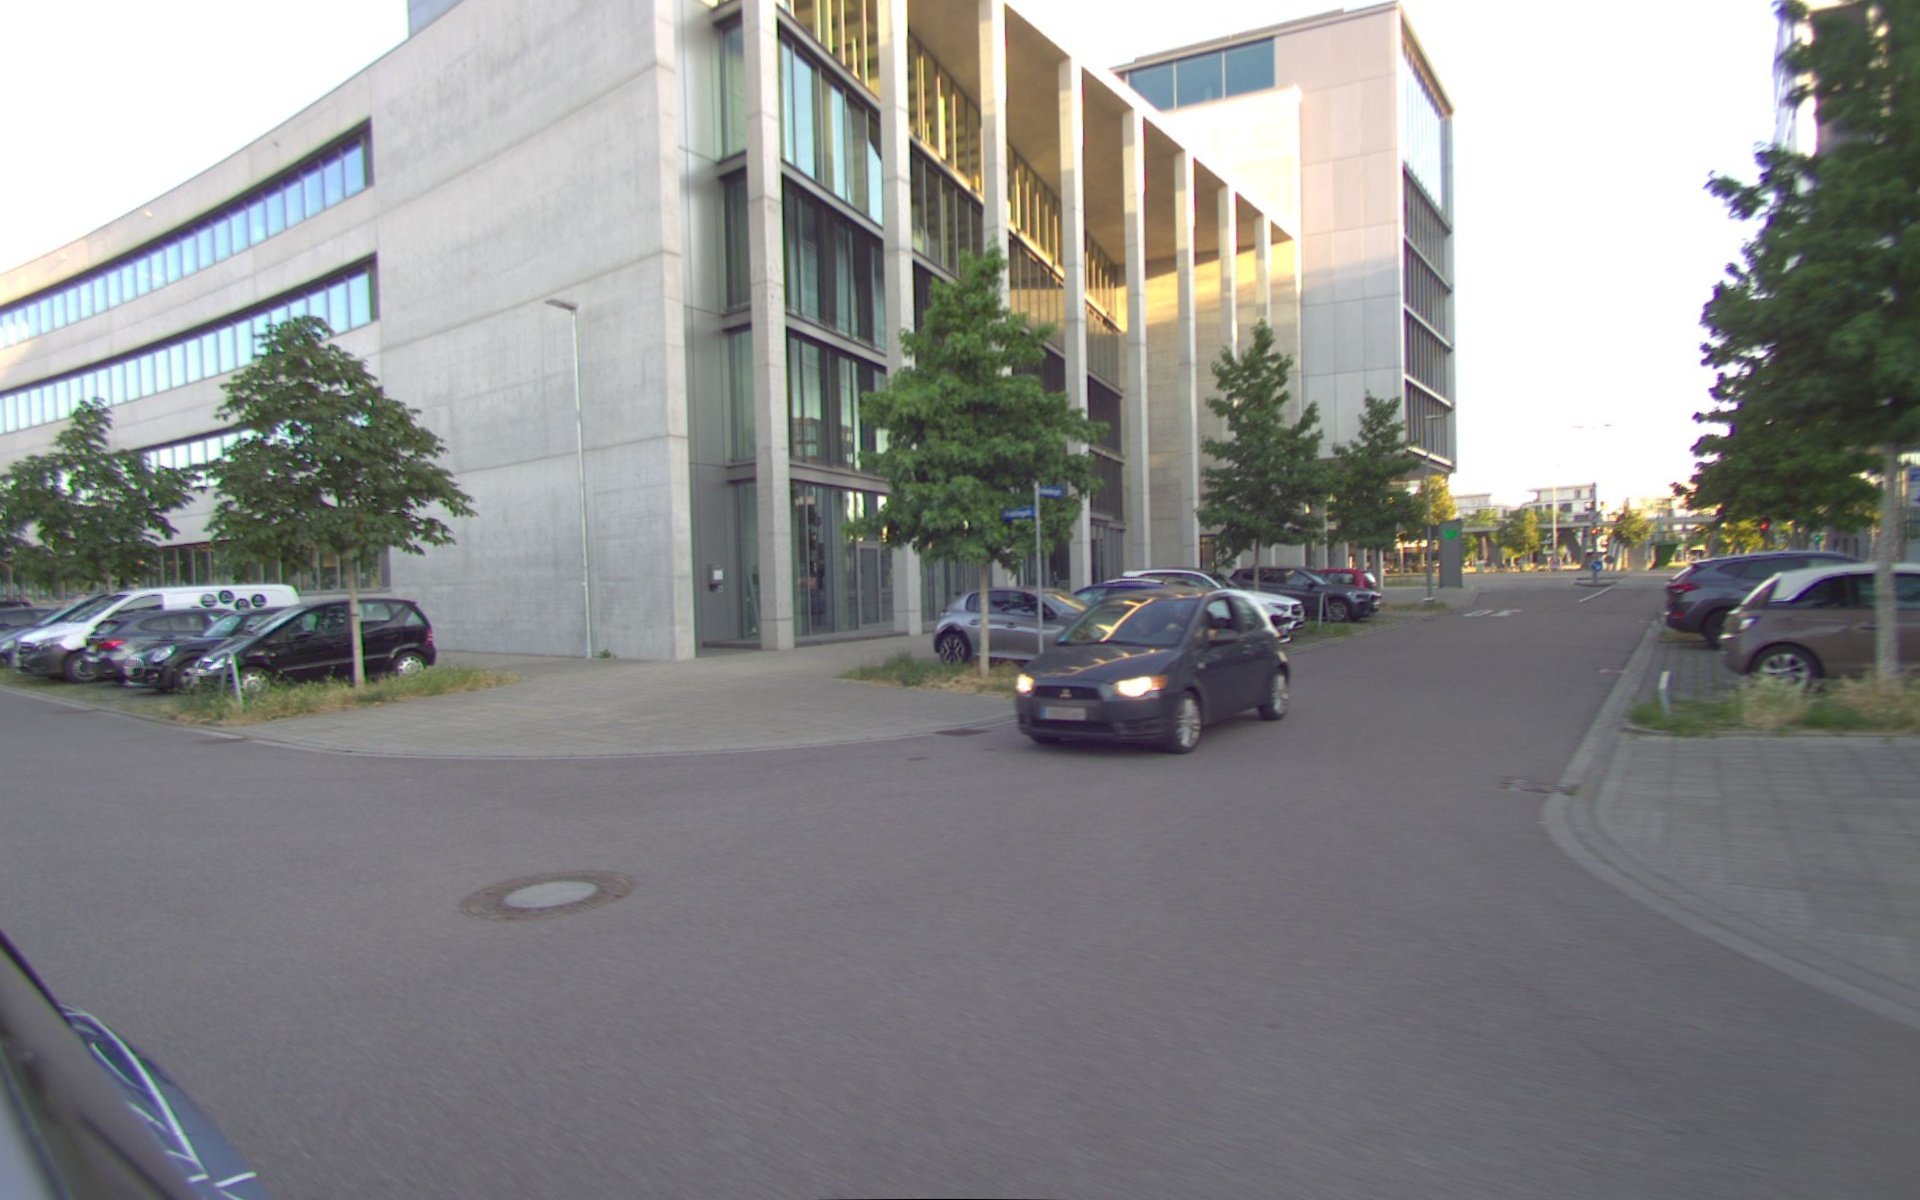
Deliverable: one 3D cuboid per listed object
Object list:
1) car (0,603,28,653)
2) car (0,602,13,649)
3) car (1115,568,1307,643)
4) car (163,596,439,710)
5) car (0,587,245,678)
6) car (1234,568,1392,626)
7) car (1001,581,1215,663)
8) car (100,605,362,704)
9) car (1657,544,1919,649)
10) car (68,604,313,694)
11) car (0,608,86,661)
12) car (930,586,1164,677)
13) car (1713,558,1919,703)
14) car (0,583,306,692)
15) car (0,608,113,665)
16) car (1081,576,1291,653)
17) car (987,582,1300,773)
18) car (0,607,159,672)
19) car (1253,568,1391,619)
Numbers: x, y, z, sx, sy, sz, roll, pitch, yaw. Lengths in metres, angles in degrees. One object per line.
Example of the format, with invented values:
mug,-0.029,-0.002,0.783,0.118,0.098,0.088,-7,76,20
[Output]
car,-32.646,1.012,32.217,1.792,1.595,3.990,-2,2,29
car,-34.834,1.000,34.016,1.792,1.595,3.990,-2,2,29
car,5.875,0.080,23.885,4.127,1.640,1.630,1,2,35
car,-11.323,0.823,17.562,1.724,1.559,3.609,-1,3,40
car,-21.404,0.734,25.583,1.885,1.840,5.027,-1,3,35
car,10.347,-0.132,29.739,4.127,1.585,1.630,1,2,35
car,2.858,0.360,19.840,3.894,1.439,1.544,1,2,35
car,-13.532,0.931,18.935,1.724,1.435,3.609,-1,3,40
car,14.659,-0.070,17.389,4.363,1.664,1.710,-1,2,36
car,-15.572,0.922,20.616,1.724,1.435,3.610,-1,3,39
car,-27.903,1.056,29.131,1.795,1.370,3.770,-1,3,35
car,1.478,0.475,17.770,3.809,1.396,1.630,1,2,35
car,10.749,0.296,11.282,3.716,1.507,1.710,-1,2,36
car,-17.654,0.716,22.312,1.885,1.894,5.027,-1,3,35
car,-25.895,1.036,27.707,1.795,1.370,3.770,-1,3,35
car,4.820,0.255,21.769,4.127,1.503,1.630,1,2,35
car,2.017,0.626,10.270,1.646,1.506,3.691,-1,1,37
car,-23.470,1.007,26.294,1.795,1.370,3.770,-1,3,35
car,11.425,-0.247,32.021,3.848,1.516,1.630,1,2,35
